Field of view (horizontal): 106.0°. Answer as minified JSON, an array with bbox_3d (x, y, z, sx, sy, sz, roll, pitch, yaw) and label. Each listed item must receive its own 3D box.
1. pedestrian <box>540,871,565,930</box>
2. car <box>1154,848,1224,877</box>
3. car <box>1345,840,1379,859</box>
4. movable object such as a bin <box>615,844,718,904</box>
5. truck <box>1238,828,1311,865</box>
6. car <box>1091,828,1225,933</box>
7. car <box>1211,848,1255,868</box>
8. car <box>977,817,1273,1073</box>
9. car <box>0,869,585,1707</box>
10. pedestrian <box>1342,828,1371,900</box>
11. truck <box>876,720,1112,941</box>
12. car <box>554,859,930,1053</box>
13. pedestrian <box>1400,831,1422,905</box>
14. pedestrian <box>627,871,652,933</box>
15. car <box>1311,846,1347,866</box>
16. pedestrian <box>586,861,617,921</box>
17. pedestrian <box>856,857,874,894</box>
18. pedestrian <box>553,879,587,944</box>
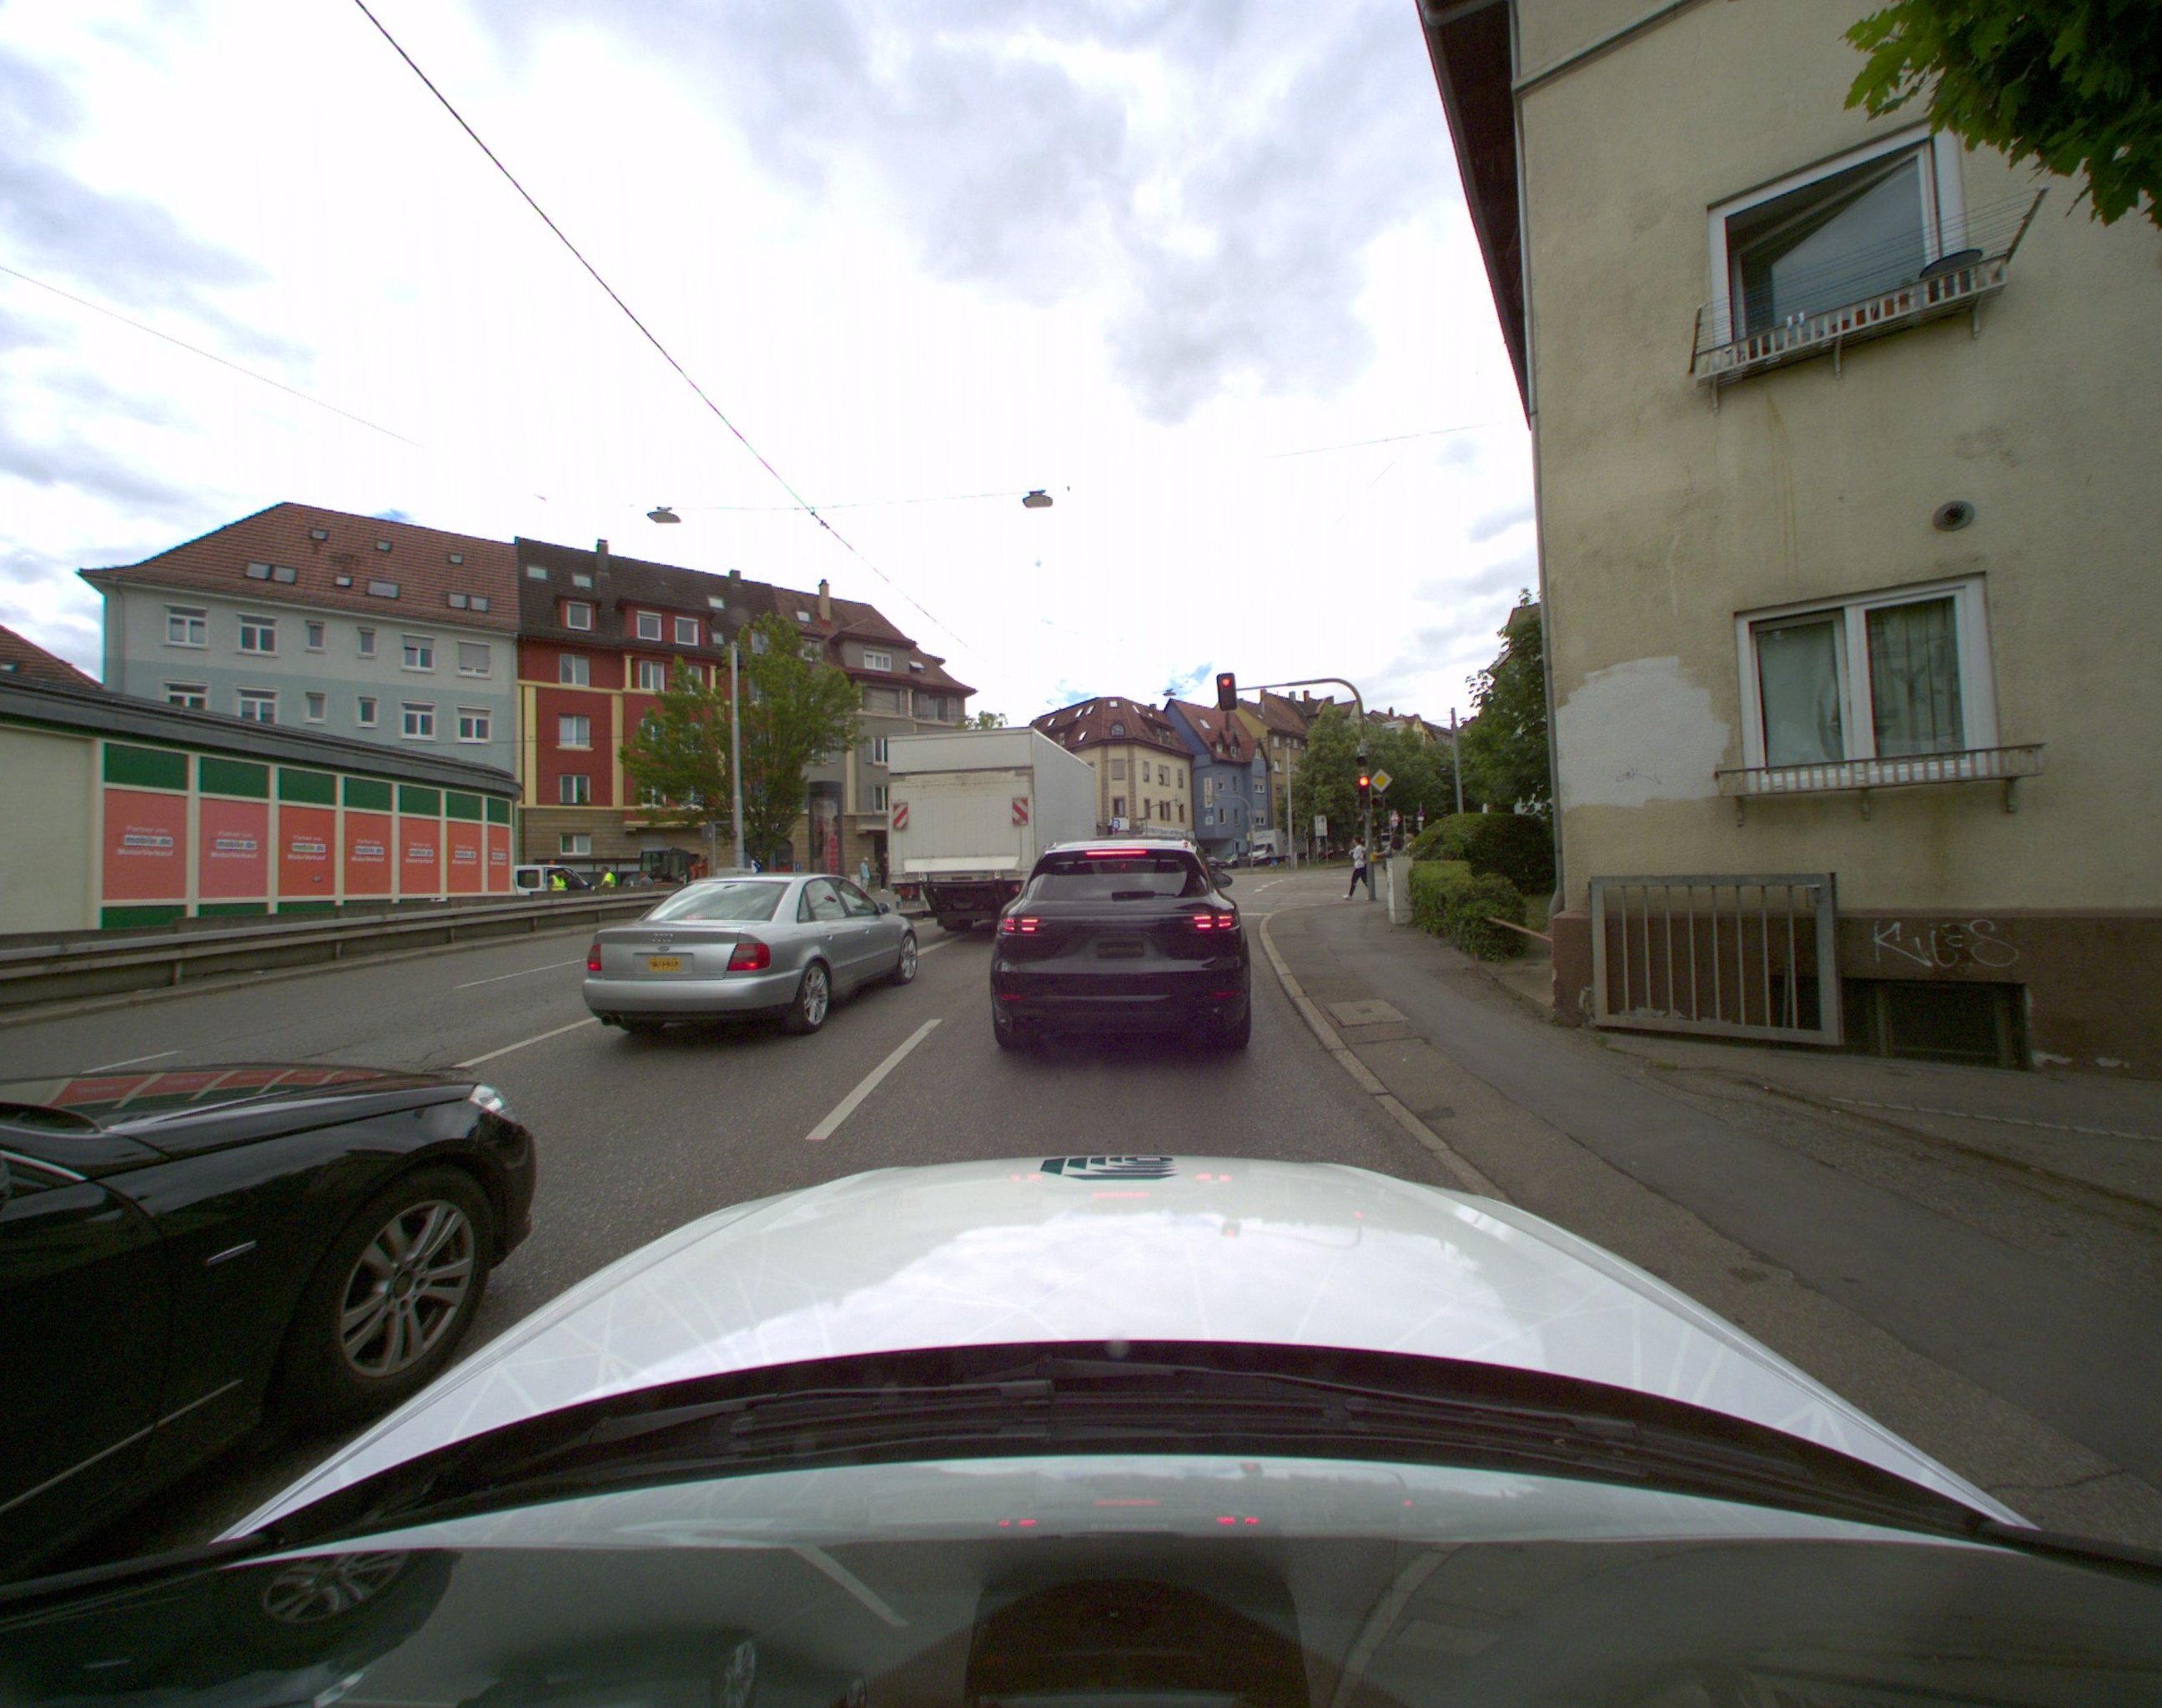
[{"bbox_3d":[-15.606,1.360,24.050,0.479,1.730,0.536,1,-1,-44],"label":"pedestrian"},{"bbox_3d":[7.029,0.581,53.475,1.937,1.772,4.599,1,-3,-36],"label":"car"},{"bbox_3d":[31.319,-0.465,90.783,1.975,2.014,4.023,0,-1,45],"label":"car"},{"bbox_3d":[-13.307,0.612,26.414,1.903,1.771,3.984,1,0,-11],"label":"movable object such as a bin"},{"bbox_3d":[18.705,-0.643,78.295,2.846,3.340,8.846,0,0,43],"label":"truck"},{"bbox_3d":[1.581,0.443,15.166,1.980,1.684,4.014,-1,0,12],"label":"car"},{"bbox_3d":[13.379,0.314,71.548,1.975,1.684,4.024,-2,-1,42],"label":"car"},{"bbox_3d":[0.274,0.592,7.502,1.973,1.684,3.998,-1,0,-1],"label":"car"},{"bbox_3d":[-2.790,0.785,0.834,1.741,1.454,4.447,-1,0,1],"label":"car"},{"bbox_3d":[7.052,0.244,20.883,0.587,1.819,0.530,1,-1,4],"label":"pedestrian"},{"bbox_3d":[-1.323,-0.395,17.384,2.751,3.575,8.088,-1,0,10],"label":"truck"},{"bbox_3d":[-2.980,0.794,8.274,1.687,1.373,4.185,-1,1,6],"label":"car"},{"bbox_3d":[8.221,0.345,20.298,0.459,1.837,0.325,0,-1,16],"label":"pedestrian"},{"bbox_3d":[-12.594,1.362,23.220,0.545,1.730,0.587,1,-1,-33],"label":"pedestrian"},{"bbox_3d":[26.113,0.197,85.814,1.975,2.014,4.023,0,-1,45],"label":"car"},{"bbox_3d":[-14.265,1.091,24.235,0.570,1.761,0.616,1,-1,-7],"label":"pedestrian"},{"bbox_3d":[-9.368,0.919,35.344,0.587,1.567,0.486,1,-1,1],"label":"pedestrian"},{"bbox_3d":[-13.706,1.528,21.858,0.562,1.700,0.541,1,-1,-10],"label":"pedestrian"}]
